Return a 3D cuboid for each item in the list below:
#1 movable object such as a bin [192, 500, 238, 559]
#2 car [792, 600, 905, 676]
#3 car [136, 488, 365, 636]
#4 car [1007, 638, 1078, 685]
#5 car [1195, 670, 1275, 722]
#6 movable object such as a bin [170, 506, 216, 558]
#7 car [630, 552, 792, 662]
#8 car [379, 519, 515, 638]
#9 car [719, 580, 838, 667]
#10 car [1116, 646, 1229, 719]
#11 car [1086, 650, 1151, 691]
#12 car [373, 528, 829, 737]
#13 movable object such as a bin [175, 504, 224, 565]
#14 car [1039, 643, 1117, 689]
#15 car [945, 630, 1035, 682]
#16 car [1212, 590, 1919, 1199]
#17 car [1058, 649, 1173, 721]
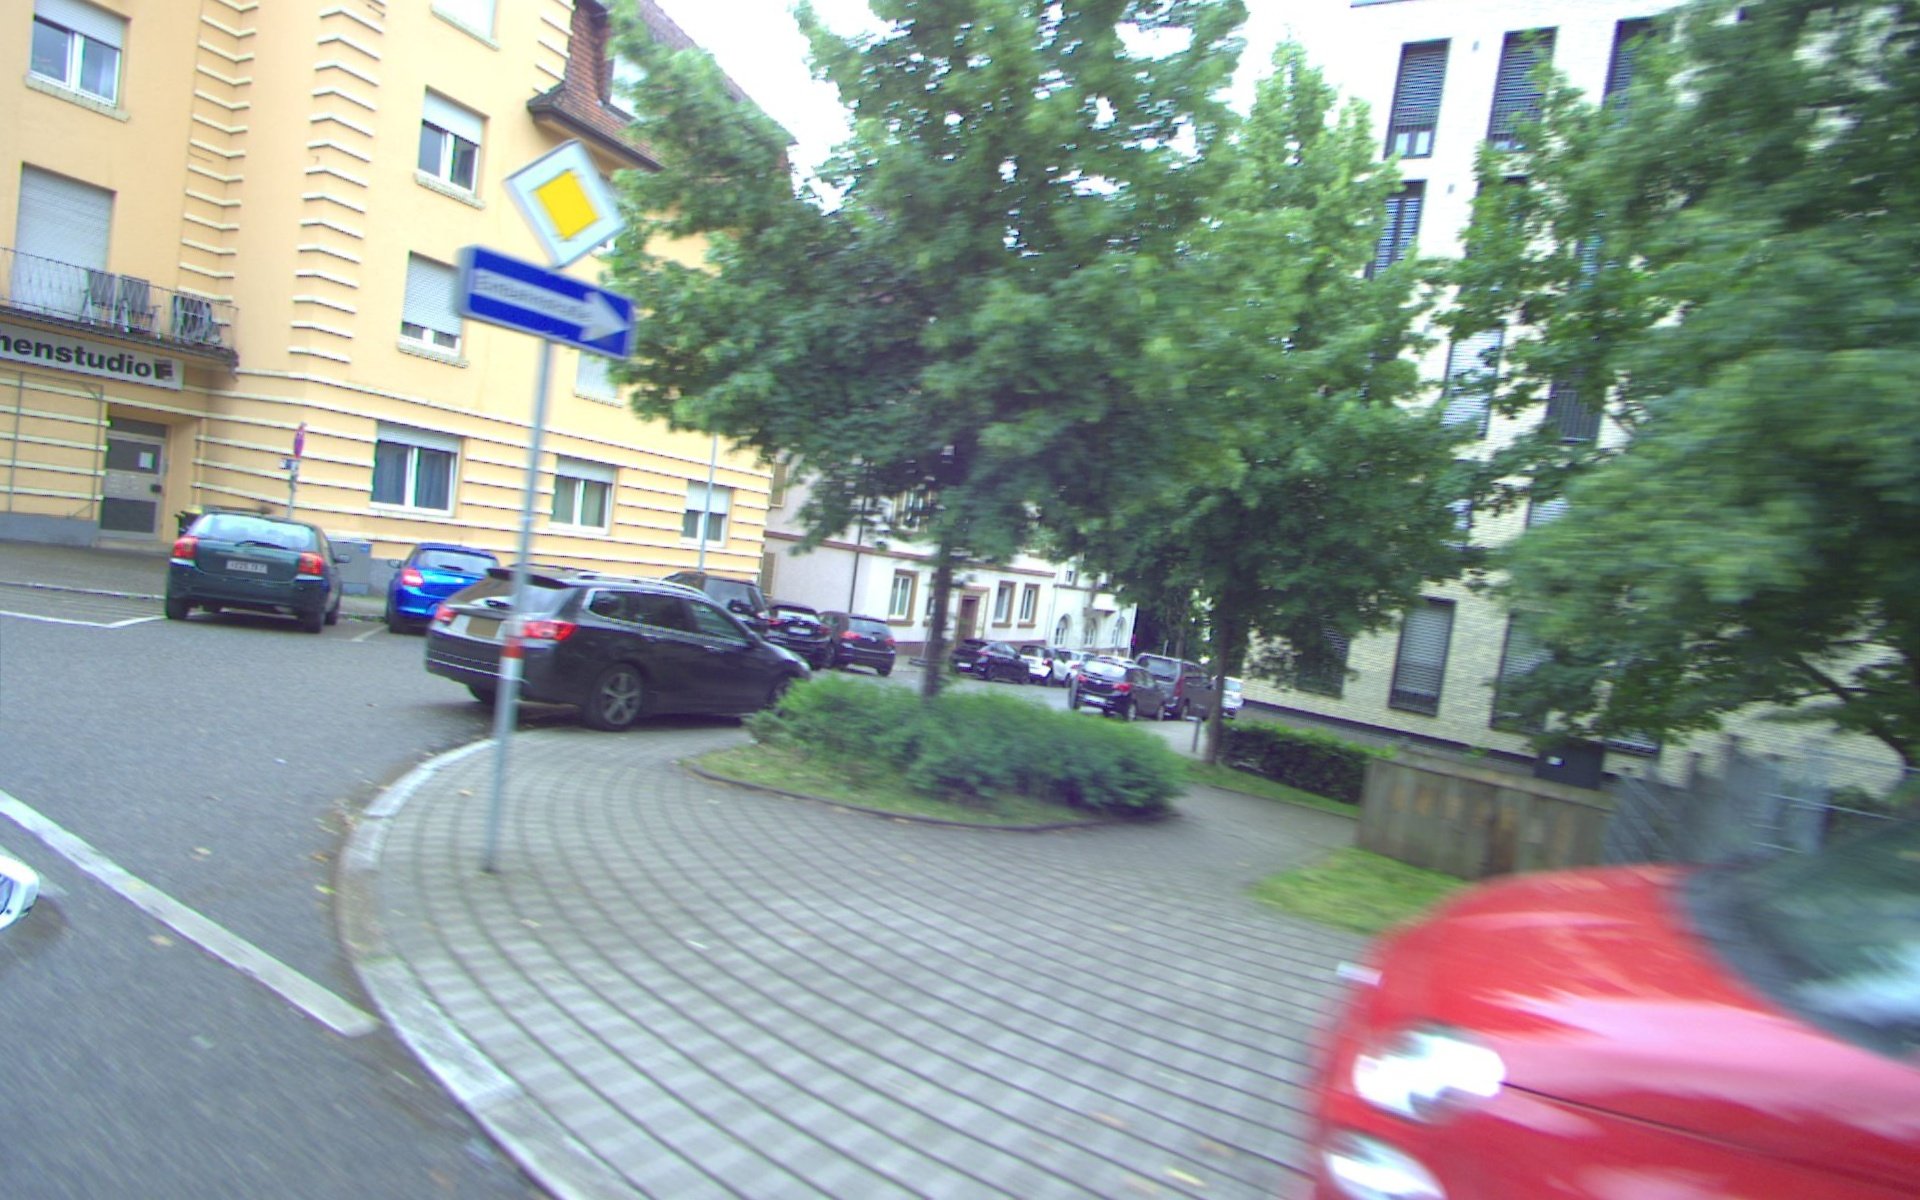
[{"bbox_3d":[-14.497,-1.369,19.571,0.504,1.056,0.505,11,6,30],"label":"movable object such as a bin"},{"bbox_3d":[-2.998,0.954,26.423,1.687,1.489,3.586,5,3,-27],"label":"car"},{"bbox_3d":[-9.665,-0.472,14.067,1.835,1.485,4.084,10,-3,-27],"label":"car"},{"bbox_3d":[3.325,2.483,40.236,1.598,1.452,2.763,11,0,30],"label":"car"},{"bbox_3d":[10.500,3.660,38.198,1.709,1.555,4.074,11,0,31],"label":"car"},{"bbox_3d":[-15.491,-1.373,20.318,0.504,0.930,0.505,11,2,30],"label":"movable object such as a bin"},{"bbox_3d":[-5.491,0.073,21.731,1.694,1.745,4.494,8,1,-35],"label":"car"},{"bbox_3d":[-8.684,-0.421,16.865,1.691,1.511,3.605,8,2,-31],"label":"car"},{"bbox_3d":[-4.407,0.505,24.019,1.690,1.486,3.586,10,0,-27],"label":"car"},{"bbox_3d":[6.589,2.569,30.832,1.934,1.728,4.333,11,0,30],"label":"car"},{"bbox_3d":[7.648,3.423,48.245,1.545,1.546,3.822,11,0,31],"label":"car"},{"bbox_3d":[-3.486,0.421,10.722,1.967,1.515,4.281,10,-1,25],"label":"car"},{"bbox_3d":[-15.073,-1.302,19.936,0.504,1.070,0.505,13,4,30],"label":"movable object such as a bin"},{"bbox_3d":[5.204,2.923,44.001,1.795,1.553,3.858,11,0,30],"label":"car"},{"bbox_3d":[1.129,2.043,36.203,1.584,1.405,3.526,11,0,30],"label":"car"},{"bbox_3d":[2.550,0.974,1.495,3.891,1.522,1.609,8,3,30],"label":"car"},{"bbox_3d":[4.144,2.236,26.375,1.747,1.442,3.527,11,0,27],"label":"car"}]
